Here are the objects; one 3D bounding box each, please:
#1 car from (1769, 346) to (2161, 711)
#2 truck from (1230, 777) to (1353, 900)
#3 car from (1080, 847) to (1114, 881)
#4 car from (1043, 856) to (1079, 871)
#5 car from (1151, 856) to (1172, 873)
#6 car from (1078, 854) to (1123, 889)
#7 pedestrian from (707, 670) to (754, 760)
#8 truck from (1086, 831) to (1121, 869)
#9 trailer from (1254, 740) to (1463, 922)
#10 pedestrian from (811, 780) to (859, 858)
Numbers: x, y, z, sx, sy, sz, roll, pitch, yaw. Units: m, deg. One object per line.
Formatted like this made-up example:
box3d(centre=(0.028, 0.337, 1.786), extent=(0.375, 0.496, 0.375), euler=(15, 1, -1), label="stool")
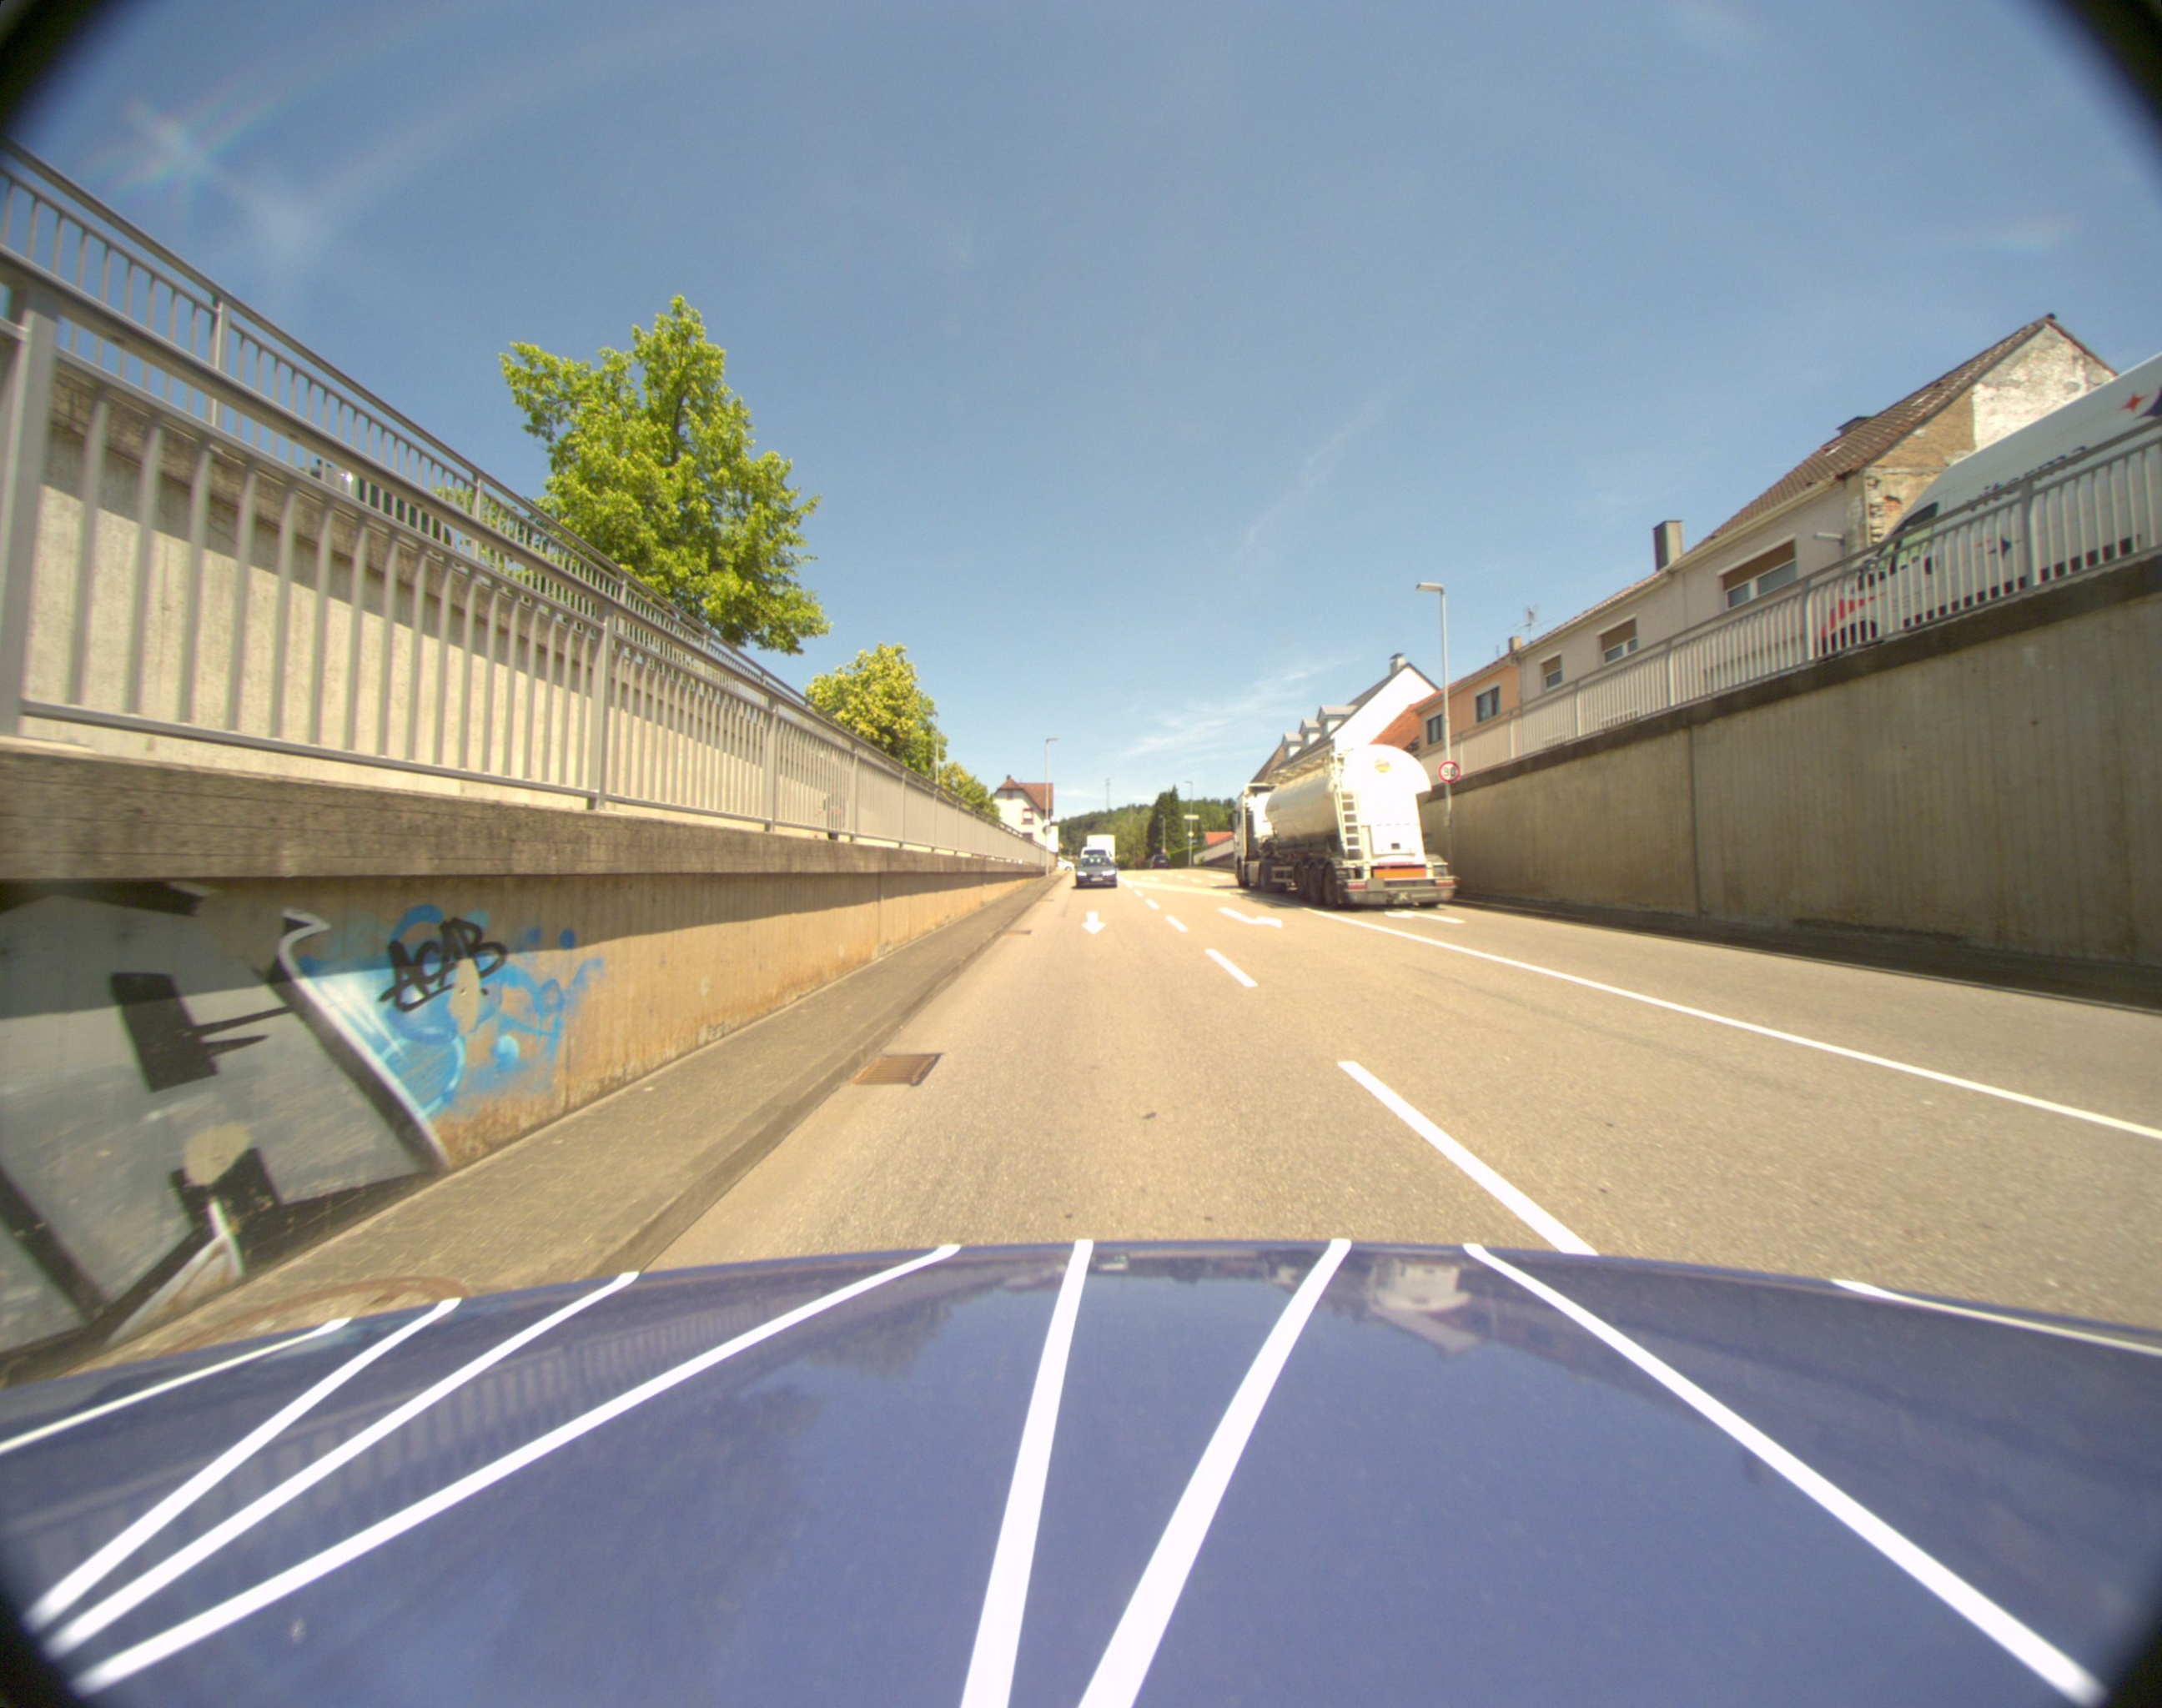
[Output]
box3d(centre=(11.455, -3.578, 8.609), extent=(2.070, 2.520, 5.664), euler=(-2, -3, 0), label="car")
box3d(centre=(7.296, -0.498, 27.248), extent=(2.668, 3.838, 6.580), euler=(-1, 0, 1), label="truck")
box3d(centre=(0.998, 0.604, 48.340), extent=(1.998, 2.002, 4.548), euler=(-2, 0, 1), label="car")
box3d(centre=(-2.095, 1.004, 78.873), extent=(3.680, 1.469, 1.776), euler=(1, -2, -4), label="car")
box3d(centre=(7.773, 1.001, 73.758), extent=(1.765, 1.480, 4.369), euler=(-1, 0, 2), label="car")
box3d(centre=(0.789, 0.739, 33.757), extent=(1.864, 1.441, 3.999), euler=(0, 0, 0), label="car")
box3d(centre=(-7.381, -2.915, 16.006), extent=(0.674, 1.768, 0.594), euler=(0, -2, 2), label="pedestrian")
box3d(centre=(2.105, -0.392, 74.433), extent=(3.149, 3.467, 8.271), euler=(0, 0, 0), label="truck")
box3d(centre=(7.148, -0.530, 21.353), extent=(2.616, 3.941, 9.346), euler=(-1, 0, 1), label="trailer")
box3d(centre=(-5.702, -0.789, 17.627), extent=(0.838, 1.771, 0.788), euler=(0, 0, 1), label="pedestrian")
